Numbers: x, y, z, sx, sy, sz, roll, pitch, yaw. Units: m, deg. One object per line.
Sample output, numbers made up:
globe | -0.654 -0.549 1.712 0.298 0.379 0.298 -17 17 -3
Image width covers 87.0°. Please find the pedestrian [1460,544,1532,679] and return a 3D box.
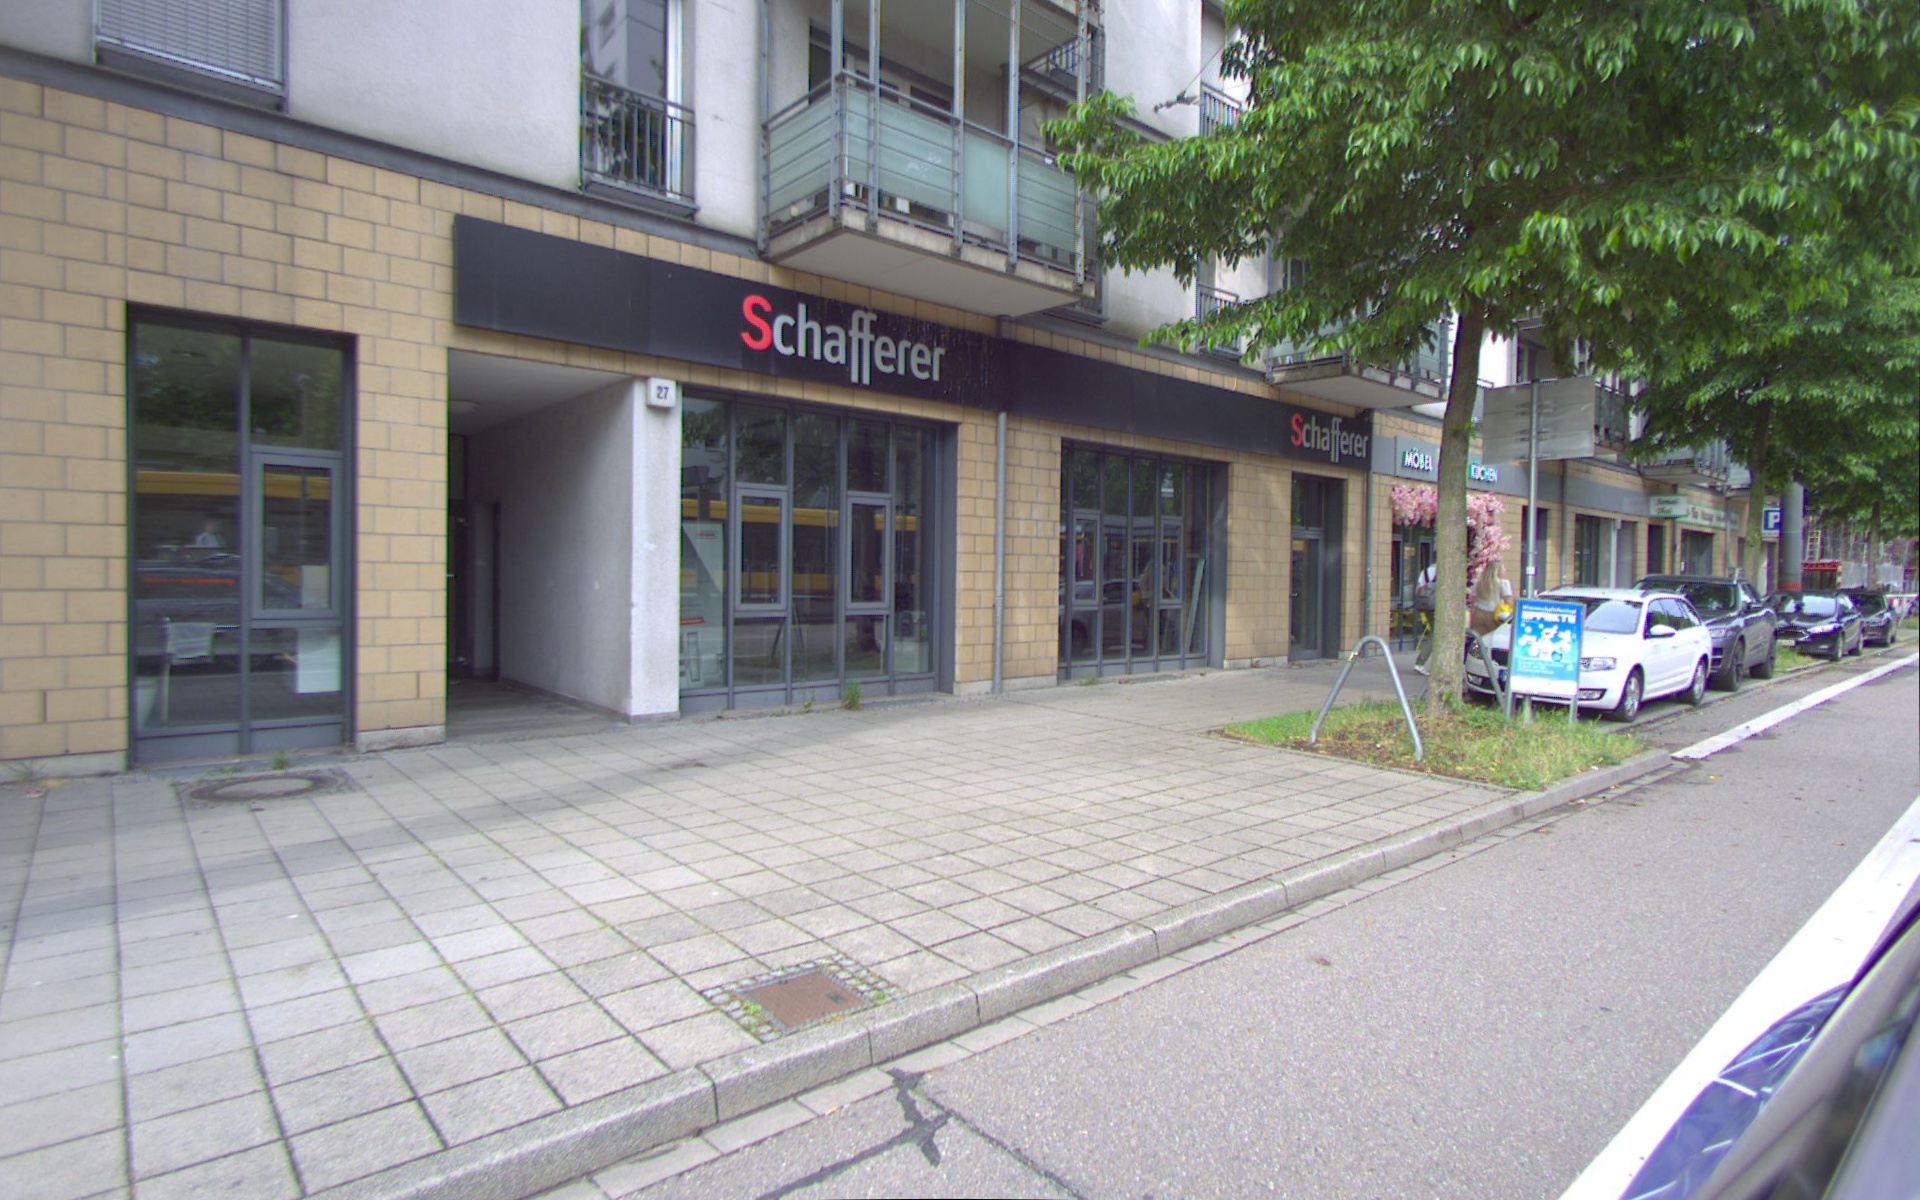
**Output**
pedestrian | 7.516 0.139 14.187 0.724 1.828 0.617 0 2 -39

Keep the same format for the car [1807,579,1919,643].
car | 24.316 0.224 27.206 4.315 1.472 1.800 -1 5 -43

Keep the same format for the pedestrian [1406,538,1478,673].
pedestrian | 7.072 0.061 14.859 0.724 1.914 0.677 0 2 -39

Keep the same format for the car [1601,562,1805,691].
car | 12.070 0.311 16.319 4.632 1.737 1.715 -1 5 -42

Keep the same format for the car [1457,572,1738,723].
car | 8.124 0.458 12.744 4.312 1.517 1.681 -1 4 -40

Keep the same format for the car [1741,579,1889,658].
car | 18.714 0.327 22.085 4.329 1.459 1.681 -1 4 -40
